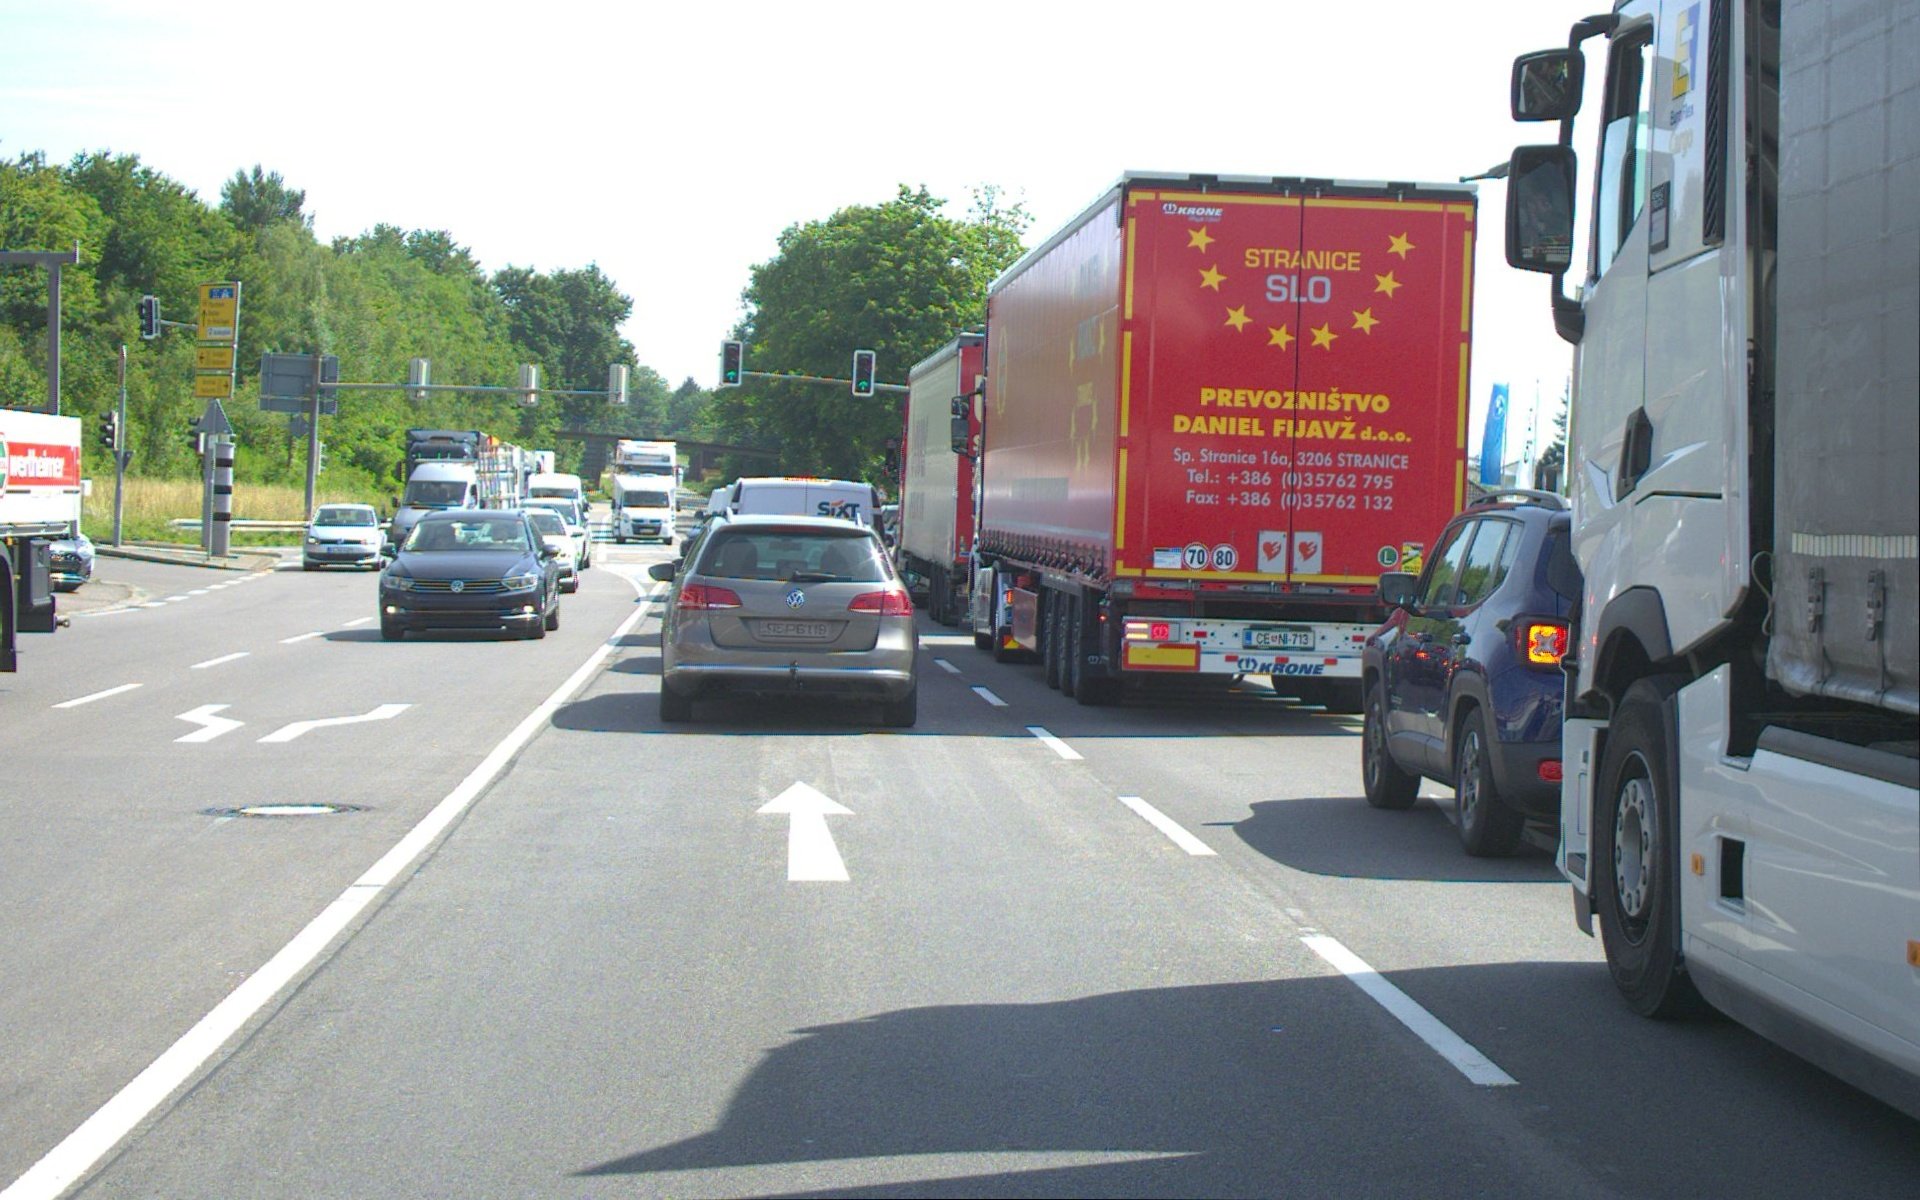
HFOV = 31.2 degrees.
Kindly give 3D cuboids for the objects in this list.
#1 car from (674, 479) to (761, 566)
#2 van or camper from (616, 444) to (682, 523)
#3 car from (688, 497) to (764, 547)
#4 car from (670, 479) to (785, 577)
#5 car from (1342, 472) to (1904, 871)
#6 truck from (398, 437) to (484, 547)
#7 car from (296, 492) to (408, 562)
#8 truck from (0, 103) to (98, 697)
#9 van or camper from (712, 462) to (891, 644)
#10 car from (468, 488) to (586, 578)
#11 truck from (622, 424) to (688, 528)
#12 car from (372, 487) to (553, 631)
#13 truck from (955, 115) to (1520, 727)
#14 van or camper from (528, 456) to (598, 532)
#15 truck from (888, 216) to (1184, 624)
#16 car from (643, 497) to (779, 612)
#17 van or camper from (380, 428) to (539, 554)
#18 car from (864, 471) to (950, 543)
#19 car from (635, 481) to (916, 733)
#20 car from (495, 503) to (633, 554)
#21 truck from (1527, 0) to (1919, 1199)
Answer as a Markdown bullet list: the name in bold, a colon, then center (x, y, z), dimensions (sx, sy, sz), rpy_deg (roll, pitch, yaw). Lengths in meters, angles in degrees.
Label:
- **car**: center (-5.579, -1.775, 79.432), dimensions (1.727, 1.902, 3.312), rpy_deg (2, 1, 0)
- **van or camper**: center (-11.770, -4.376, 130.383), dimensions (2.224, 2.831, 5.712), rpy_deg (2, 1, -3)
- **car**: center (-6.616, -2.227, 97.621), dimensions (1.666, 1.404, 3.926), rpy_deg (0, 2, 3)
- **car**: center (-3.812, -1.188, 56.855), dimensions (1.727, 1.514, 3.312), rpy_deg (2, 1, -2)
- **car**: center (3.047, 0.248, 16.651), dimensions (1.819, 1.679, 4.001), rpy_deg (1, 2, -2)
- **truck**: center (-18.249, -3.808, 121.144), dimensions (2.812, 3.773, 6.992), rpy_deg (0, 2, -7)
- **car**: center (-13.289, -1.615, 75.310), dimensions (1.836, 1.443, 4.082), rpy_deg (1, 2, -2)
- **truck**: center (-8.172, -1.339, 21.945), dimensions (2.956, 4.194, 10.648), rpy_deg (-1, 2, -2)
- **van or camper**: center (-1.825, -0.559, 38.747), dimensions (1.852, 1.899, 3.785), rpy_deg (2, 2, -4)
- **car**: center (-7.732, -1.223, 61.708), dimensions (1.909, 1.516, 4.782), rpy_deg (1, 2, -5)
- **truck**: center (-12.832, -5.211, 145.030), dimensions (2.552, 4.292, 7.597), rpy_deg (0, 2, -3)
- **car**: center (-5.718, -0.513, 39.903), dimensions (1.806, 1.554, 4.388), rpy_deg (1, 2, -5)
- **truck**: center (1.962, -1.510, 32.743), dimensions (2.957, 4.255, 16.587), rpy_deg (2, 2, -3)
- **van or camper**: center (-13.916, -3.709, 120.684), dimensions (2.173, 2.542, 4.171), rpy_deg (2, 2, -4)
- **truck**: center (0.810, -2.592, 53.294), dimensions (3.062, 5.202, 17.010), rpy_deg (2, 2, -3)
- **car**: center (-3.496, -0.647, 48.749), dimensions (1.727, 1.514, 3.312), rpy_deg (2, 1, -2)
- **van or camper**: center (-13.213, -2.836, 91.207), dimensions (2.208, 3.045, 5.899), rpy_deg (3, 1, 11)
- **car**: center (-1.225, -2.092, 77.786), dimensions (1.726, 1.514, 3.313), rpy_deg (2, 1, -4)
- **car**: center (-1.242, 0.007, 24.428), dimensions (1.790, 1.633, 3.504), rpy_deg (1, 1, 0)
- **car**: center (-11.776, -2.123, 102.432), dimensions (1.716, 1.443, 4.072), rpy_deg (2, 2, 38)
- **truck**: center (3.547, -0.692, 3.375), dimensions (2.890, 4.251, 16.711), rpy_deg (1, 1, -1)
